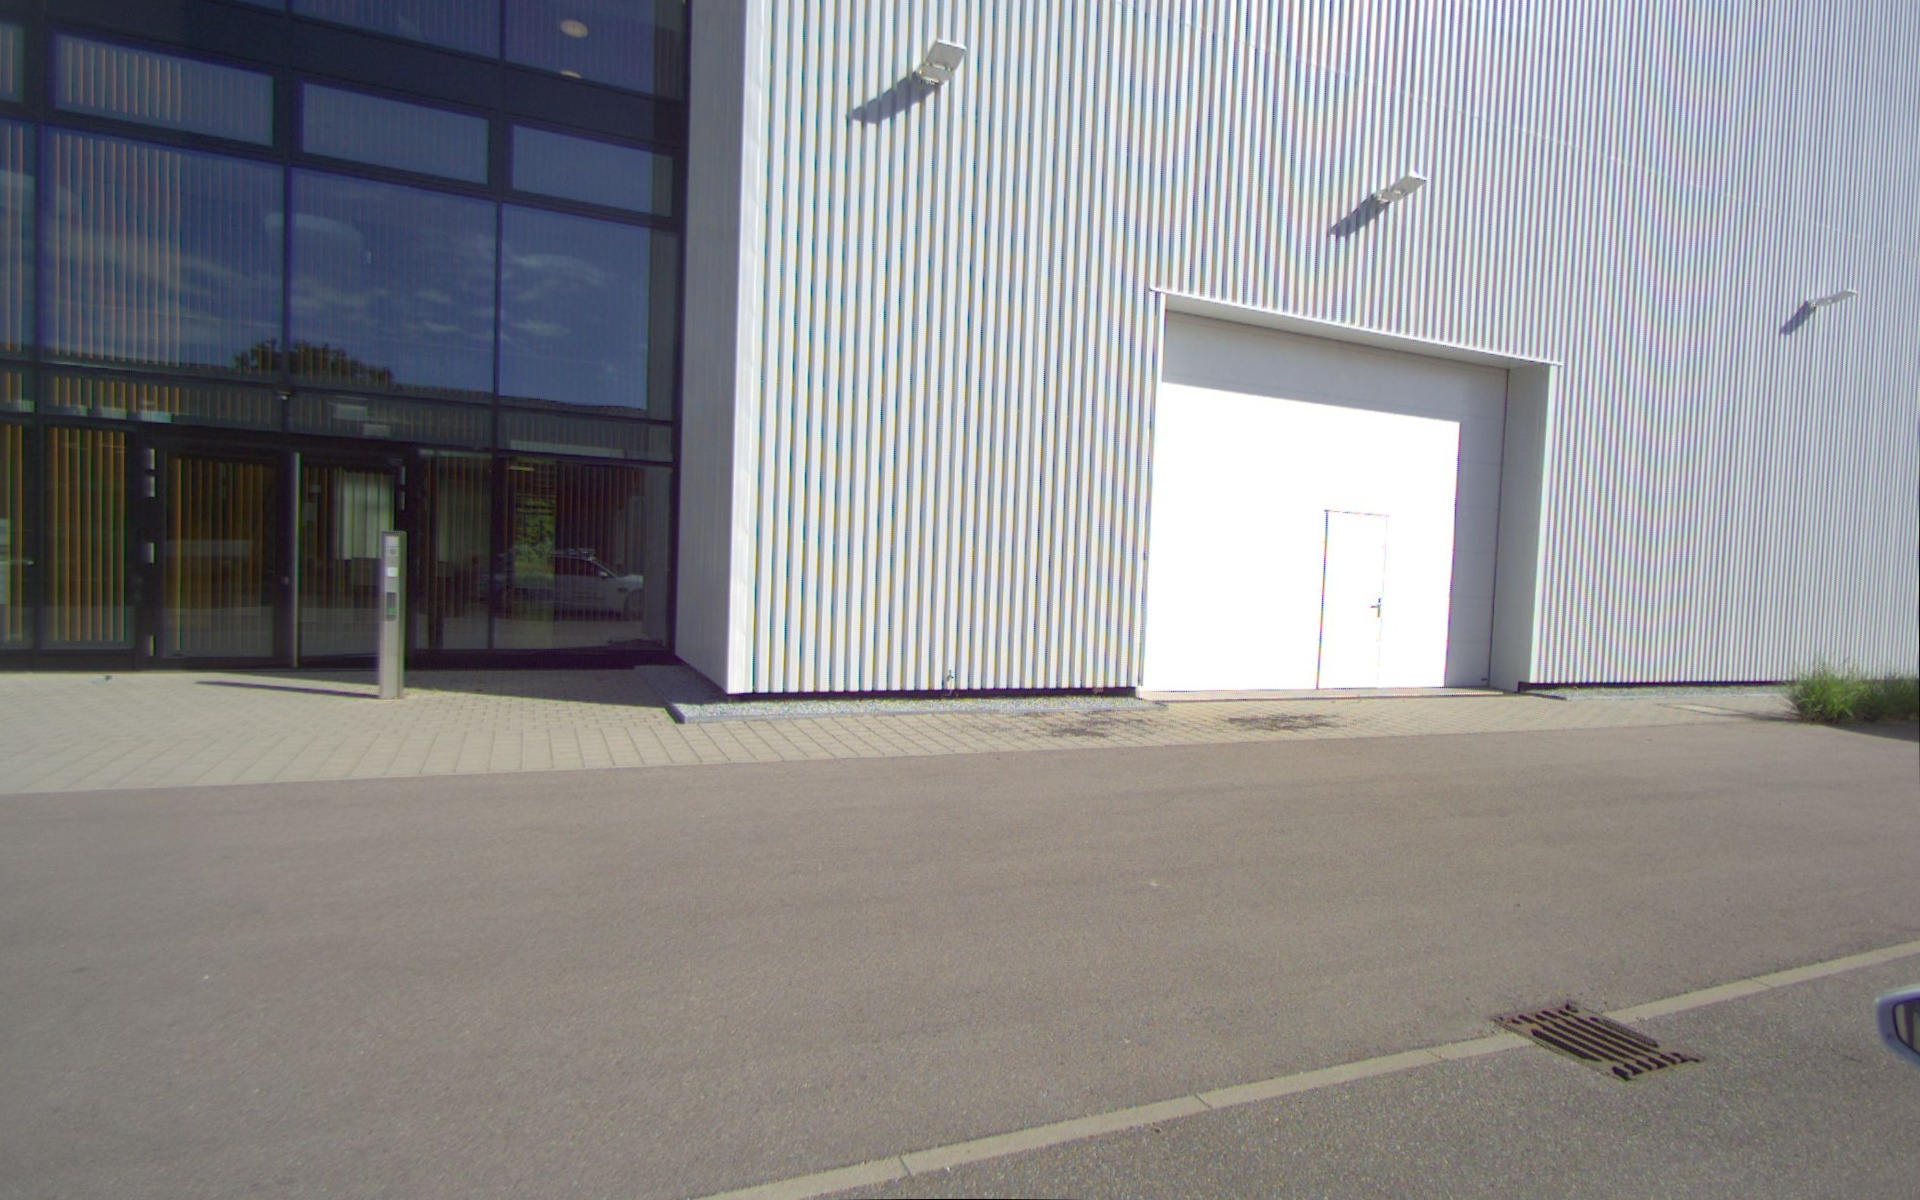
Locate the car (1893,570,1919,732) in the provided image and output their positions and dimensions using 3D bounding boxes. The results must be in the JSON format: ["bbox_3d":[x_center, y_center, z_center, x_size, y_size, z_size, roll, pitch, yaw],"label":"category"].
[{"bbox_3d":[13.421,0.705,11.890,4.299,1.870,1.884,1,4,-25],"label":"car"}]
